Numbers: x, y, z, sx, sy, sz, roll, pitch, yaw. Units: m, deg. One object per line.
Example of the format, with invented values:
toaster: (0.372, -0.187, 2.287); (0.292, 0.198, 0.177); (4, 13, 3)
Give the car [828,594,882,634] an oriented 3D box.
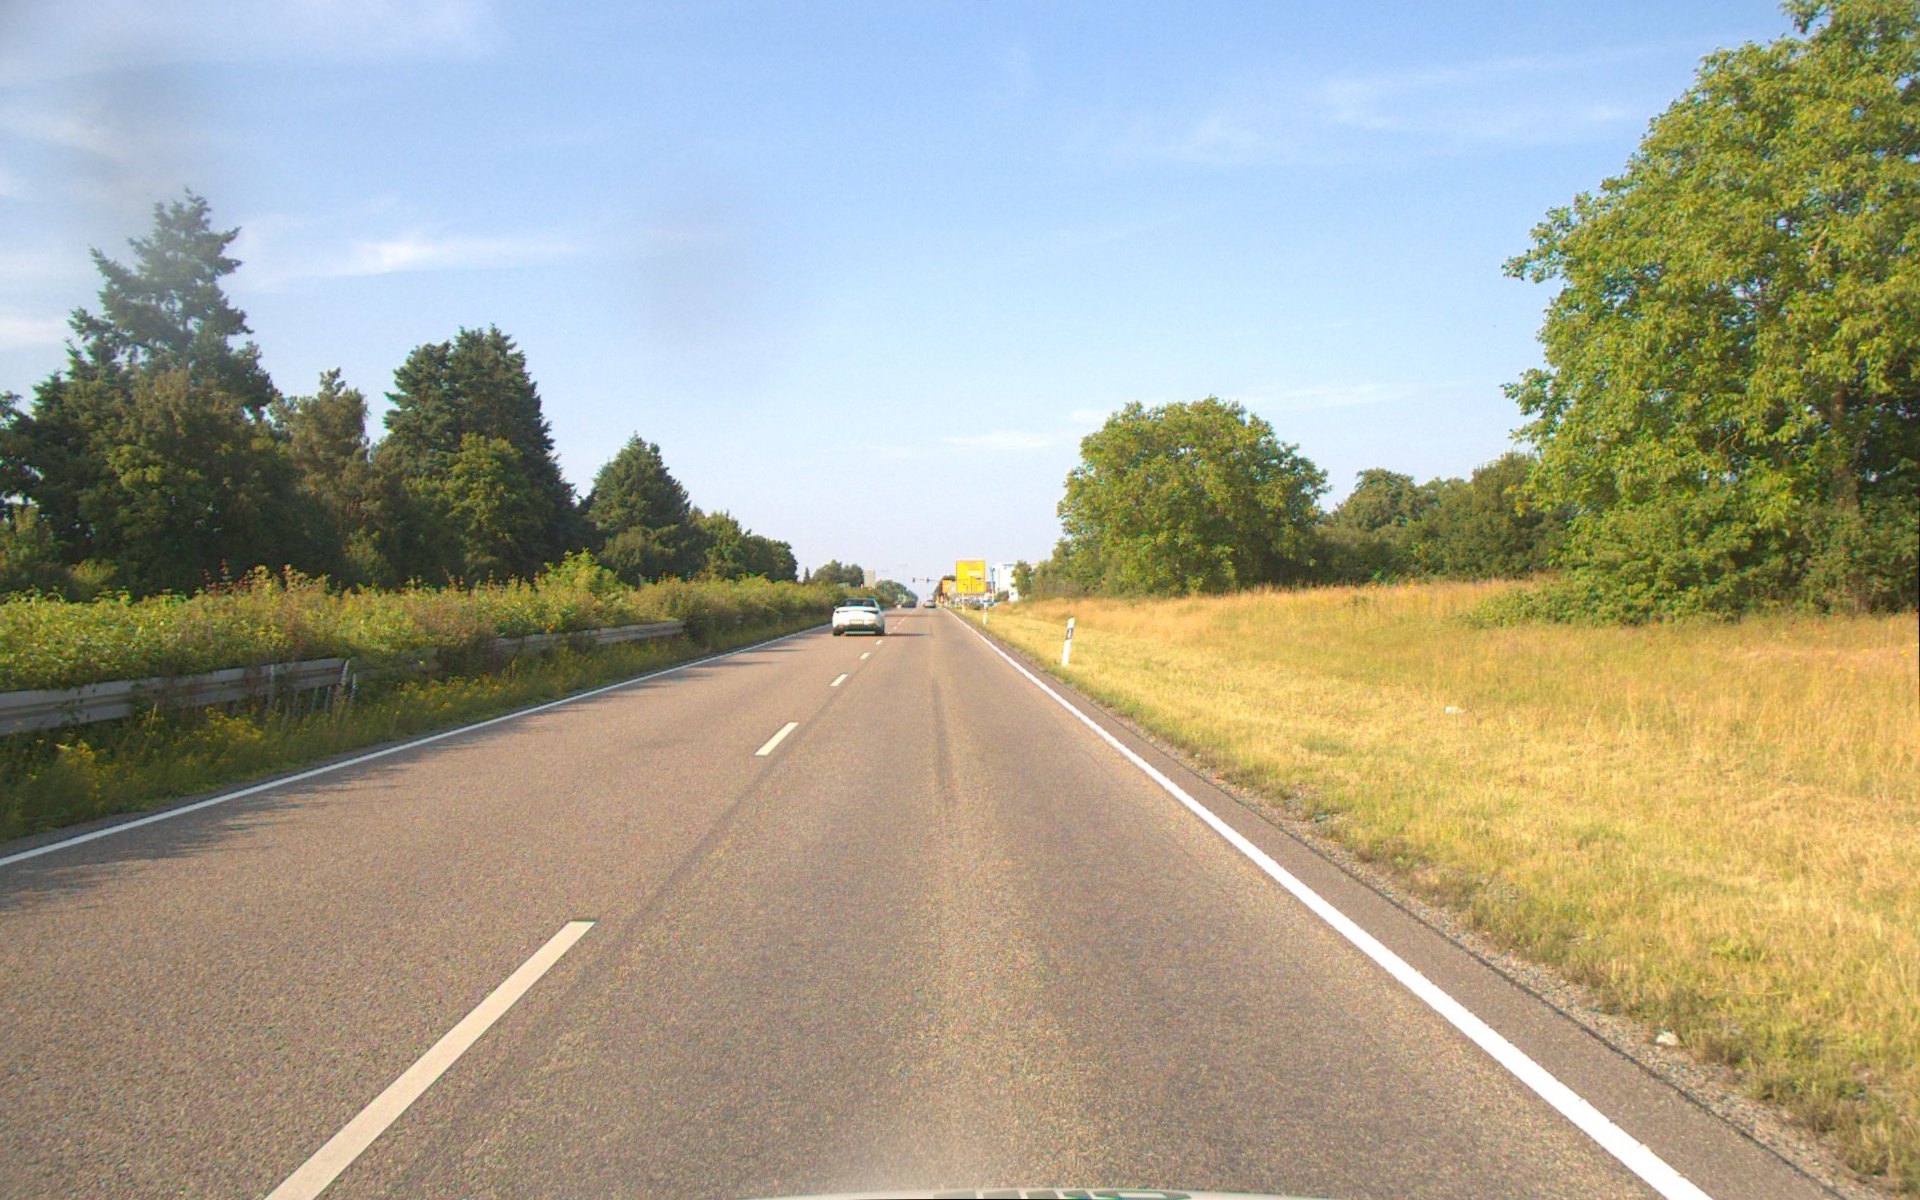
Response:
car: (-3.916, 0.511, 62.189); (1.871, 1.447, 3.998); (0, 0, -2)
